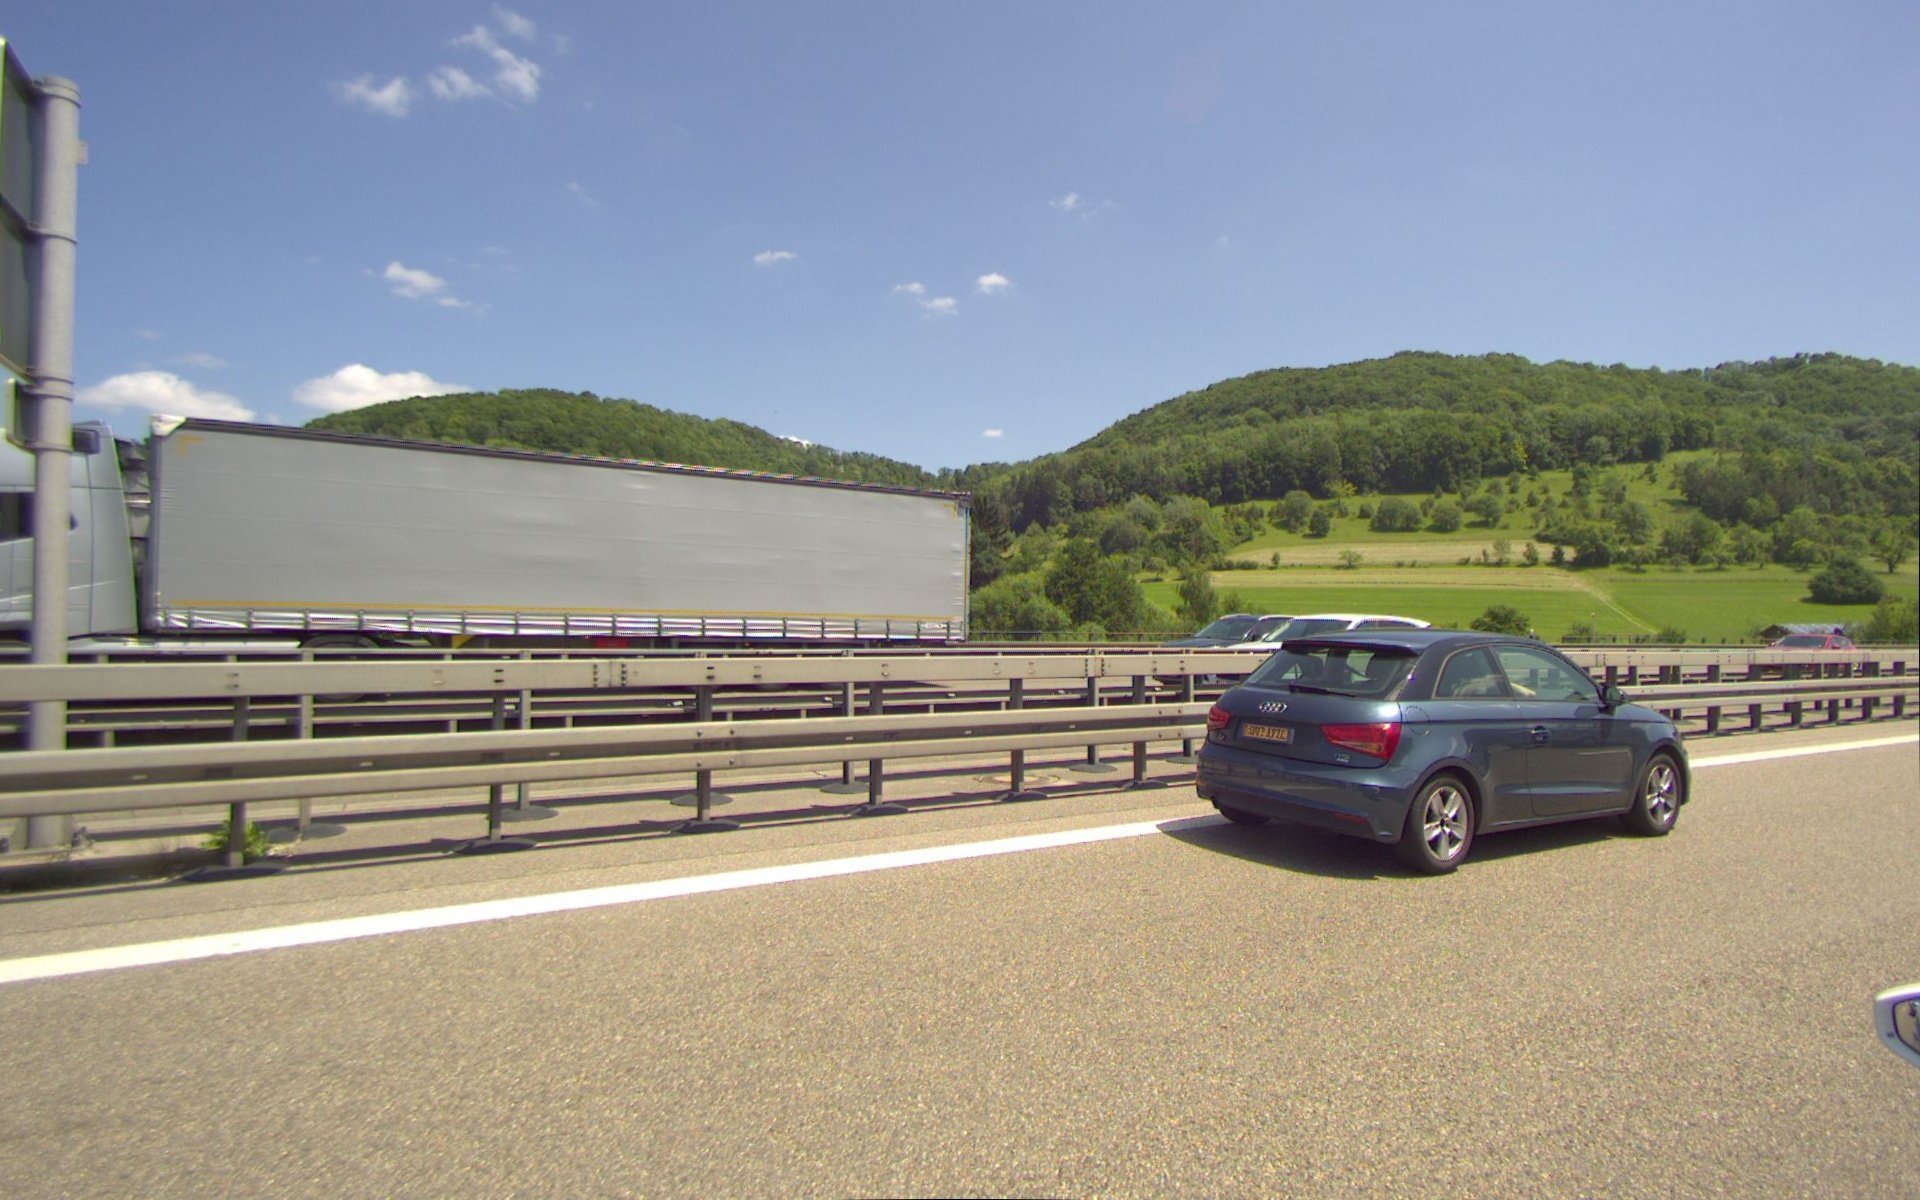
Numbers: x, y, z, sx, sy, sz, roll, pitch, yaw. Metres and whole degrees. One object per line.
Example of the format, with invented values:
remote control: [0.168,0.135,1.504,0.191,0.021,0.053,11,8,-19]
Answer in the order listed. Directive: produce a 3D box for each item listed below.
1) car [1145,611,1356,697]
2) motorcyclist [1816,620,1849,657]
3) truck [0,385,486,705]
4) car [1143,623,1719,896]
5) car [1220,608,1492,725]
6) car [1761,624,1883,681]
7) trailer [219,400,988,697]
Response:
car: [6.171,1.096,21.230,4.304,1.639,1.860,1,-1,-30]
motorcyclist: [37.241,1.637,42.856,0.829,1.521,0.840,1,-1,-31]
truck: [-11.444,-0.653,15.800,6.875,4.203,3.262,2,-1,-31]
car: [3.359,0.896,7.000,3.952,1.407,1.681,1,-1,-30]
car: [6.771,1.056,17.086,4.457,1.716,1.984,1,0,-30]
car: [30.374,1.828,35.378,4.226,1.816,1.984,2,0,-30]
trailer: [-5.816,-0.554,19.061,12.847,4.260,3.231,2,0,-30]
